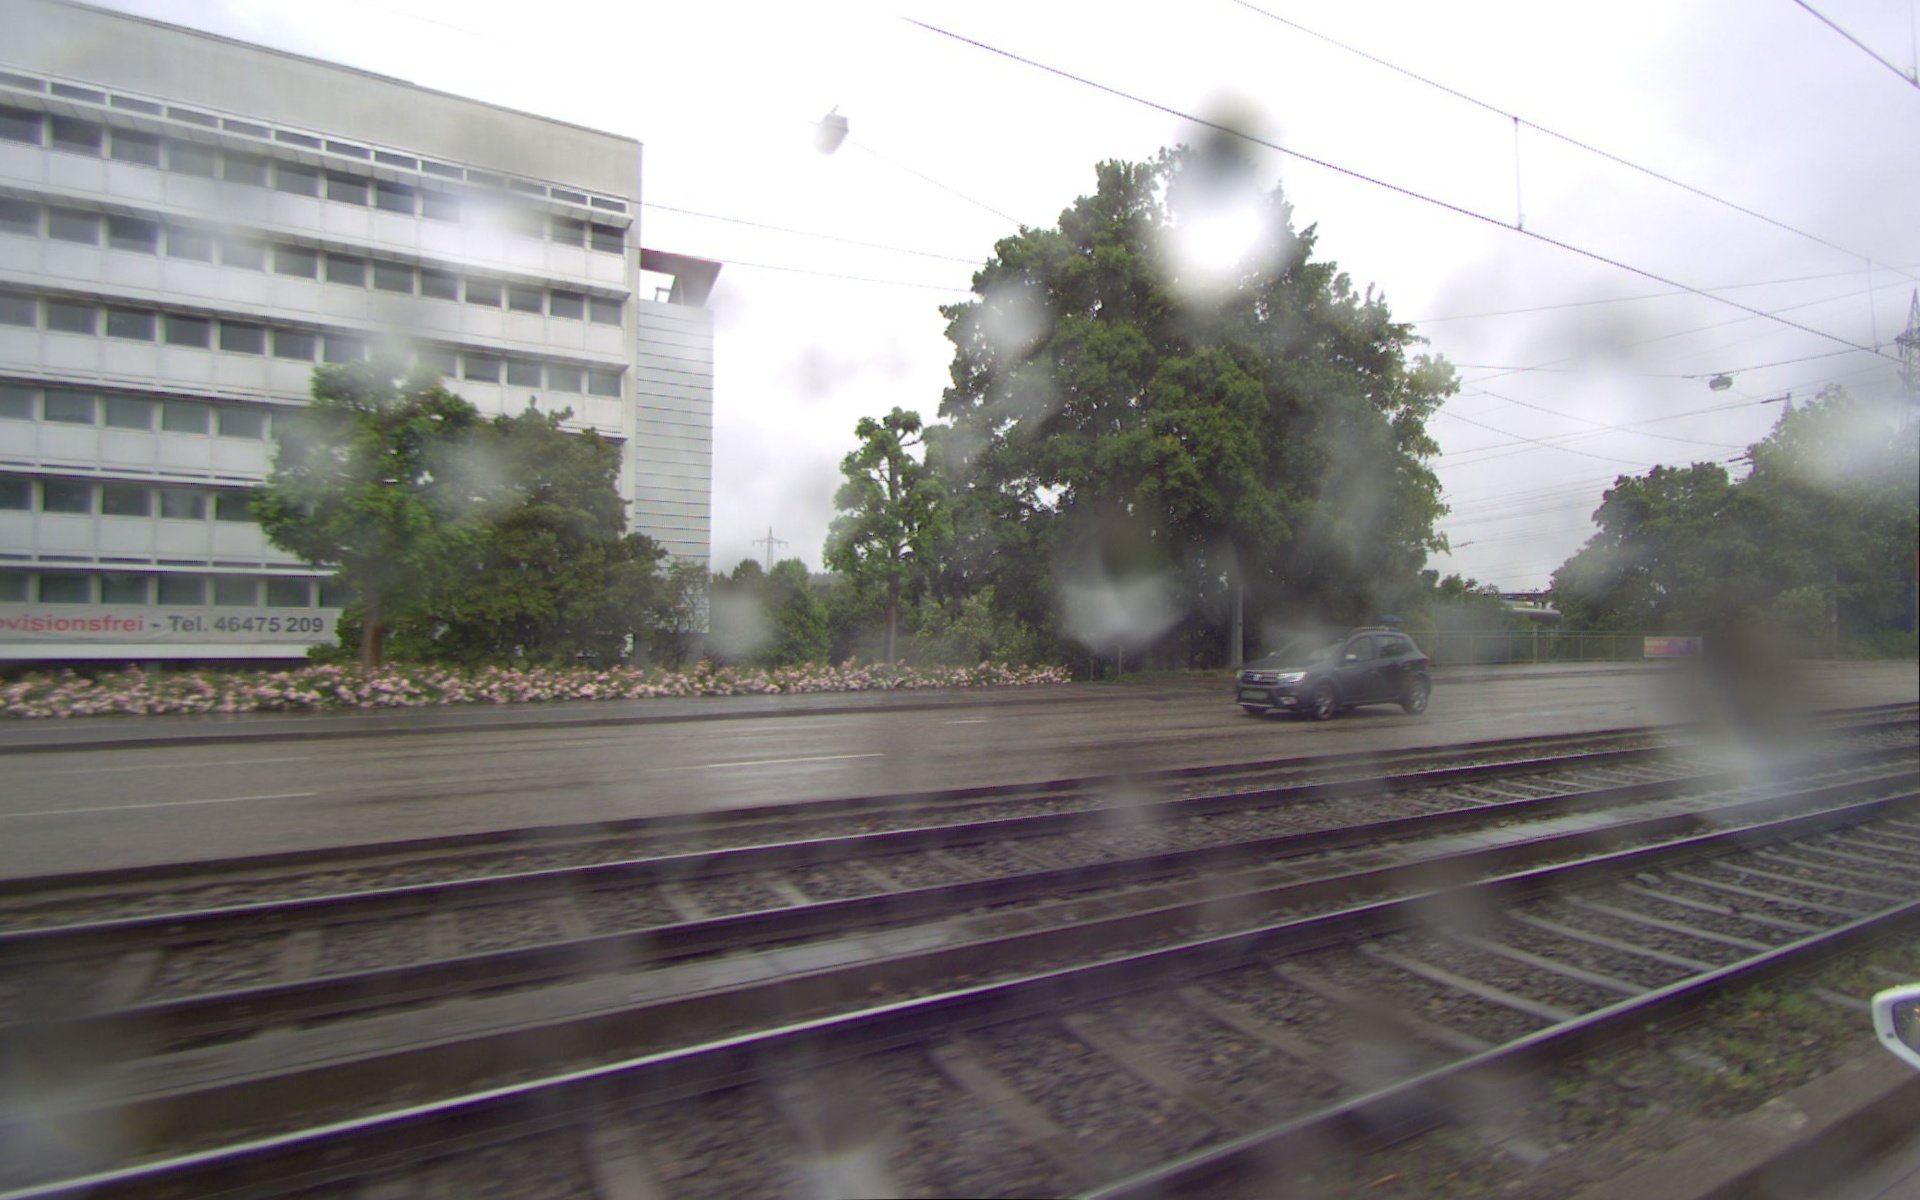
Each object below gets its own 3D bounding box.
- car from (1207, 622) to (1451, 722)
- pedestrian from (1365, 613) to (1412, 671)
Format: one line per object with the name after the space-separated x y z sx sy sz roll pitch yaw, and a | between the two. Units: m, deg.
6.799 1.229 18.472 4.201 1.639 1.985 1 -1 -29 | car
13.295 1.294 31.156 1.107 1.782 0.847 1 -1 -30 | pedestrian
